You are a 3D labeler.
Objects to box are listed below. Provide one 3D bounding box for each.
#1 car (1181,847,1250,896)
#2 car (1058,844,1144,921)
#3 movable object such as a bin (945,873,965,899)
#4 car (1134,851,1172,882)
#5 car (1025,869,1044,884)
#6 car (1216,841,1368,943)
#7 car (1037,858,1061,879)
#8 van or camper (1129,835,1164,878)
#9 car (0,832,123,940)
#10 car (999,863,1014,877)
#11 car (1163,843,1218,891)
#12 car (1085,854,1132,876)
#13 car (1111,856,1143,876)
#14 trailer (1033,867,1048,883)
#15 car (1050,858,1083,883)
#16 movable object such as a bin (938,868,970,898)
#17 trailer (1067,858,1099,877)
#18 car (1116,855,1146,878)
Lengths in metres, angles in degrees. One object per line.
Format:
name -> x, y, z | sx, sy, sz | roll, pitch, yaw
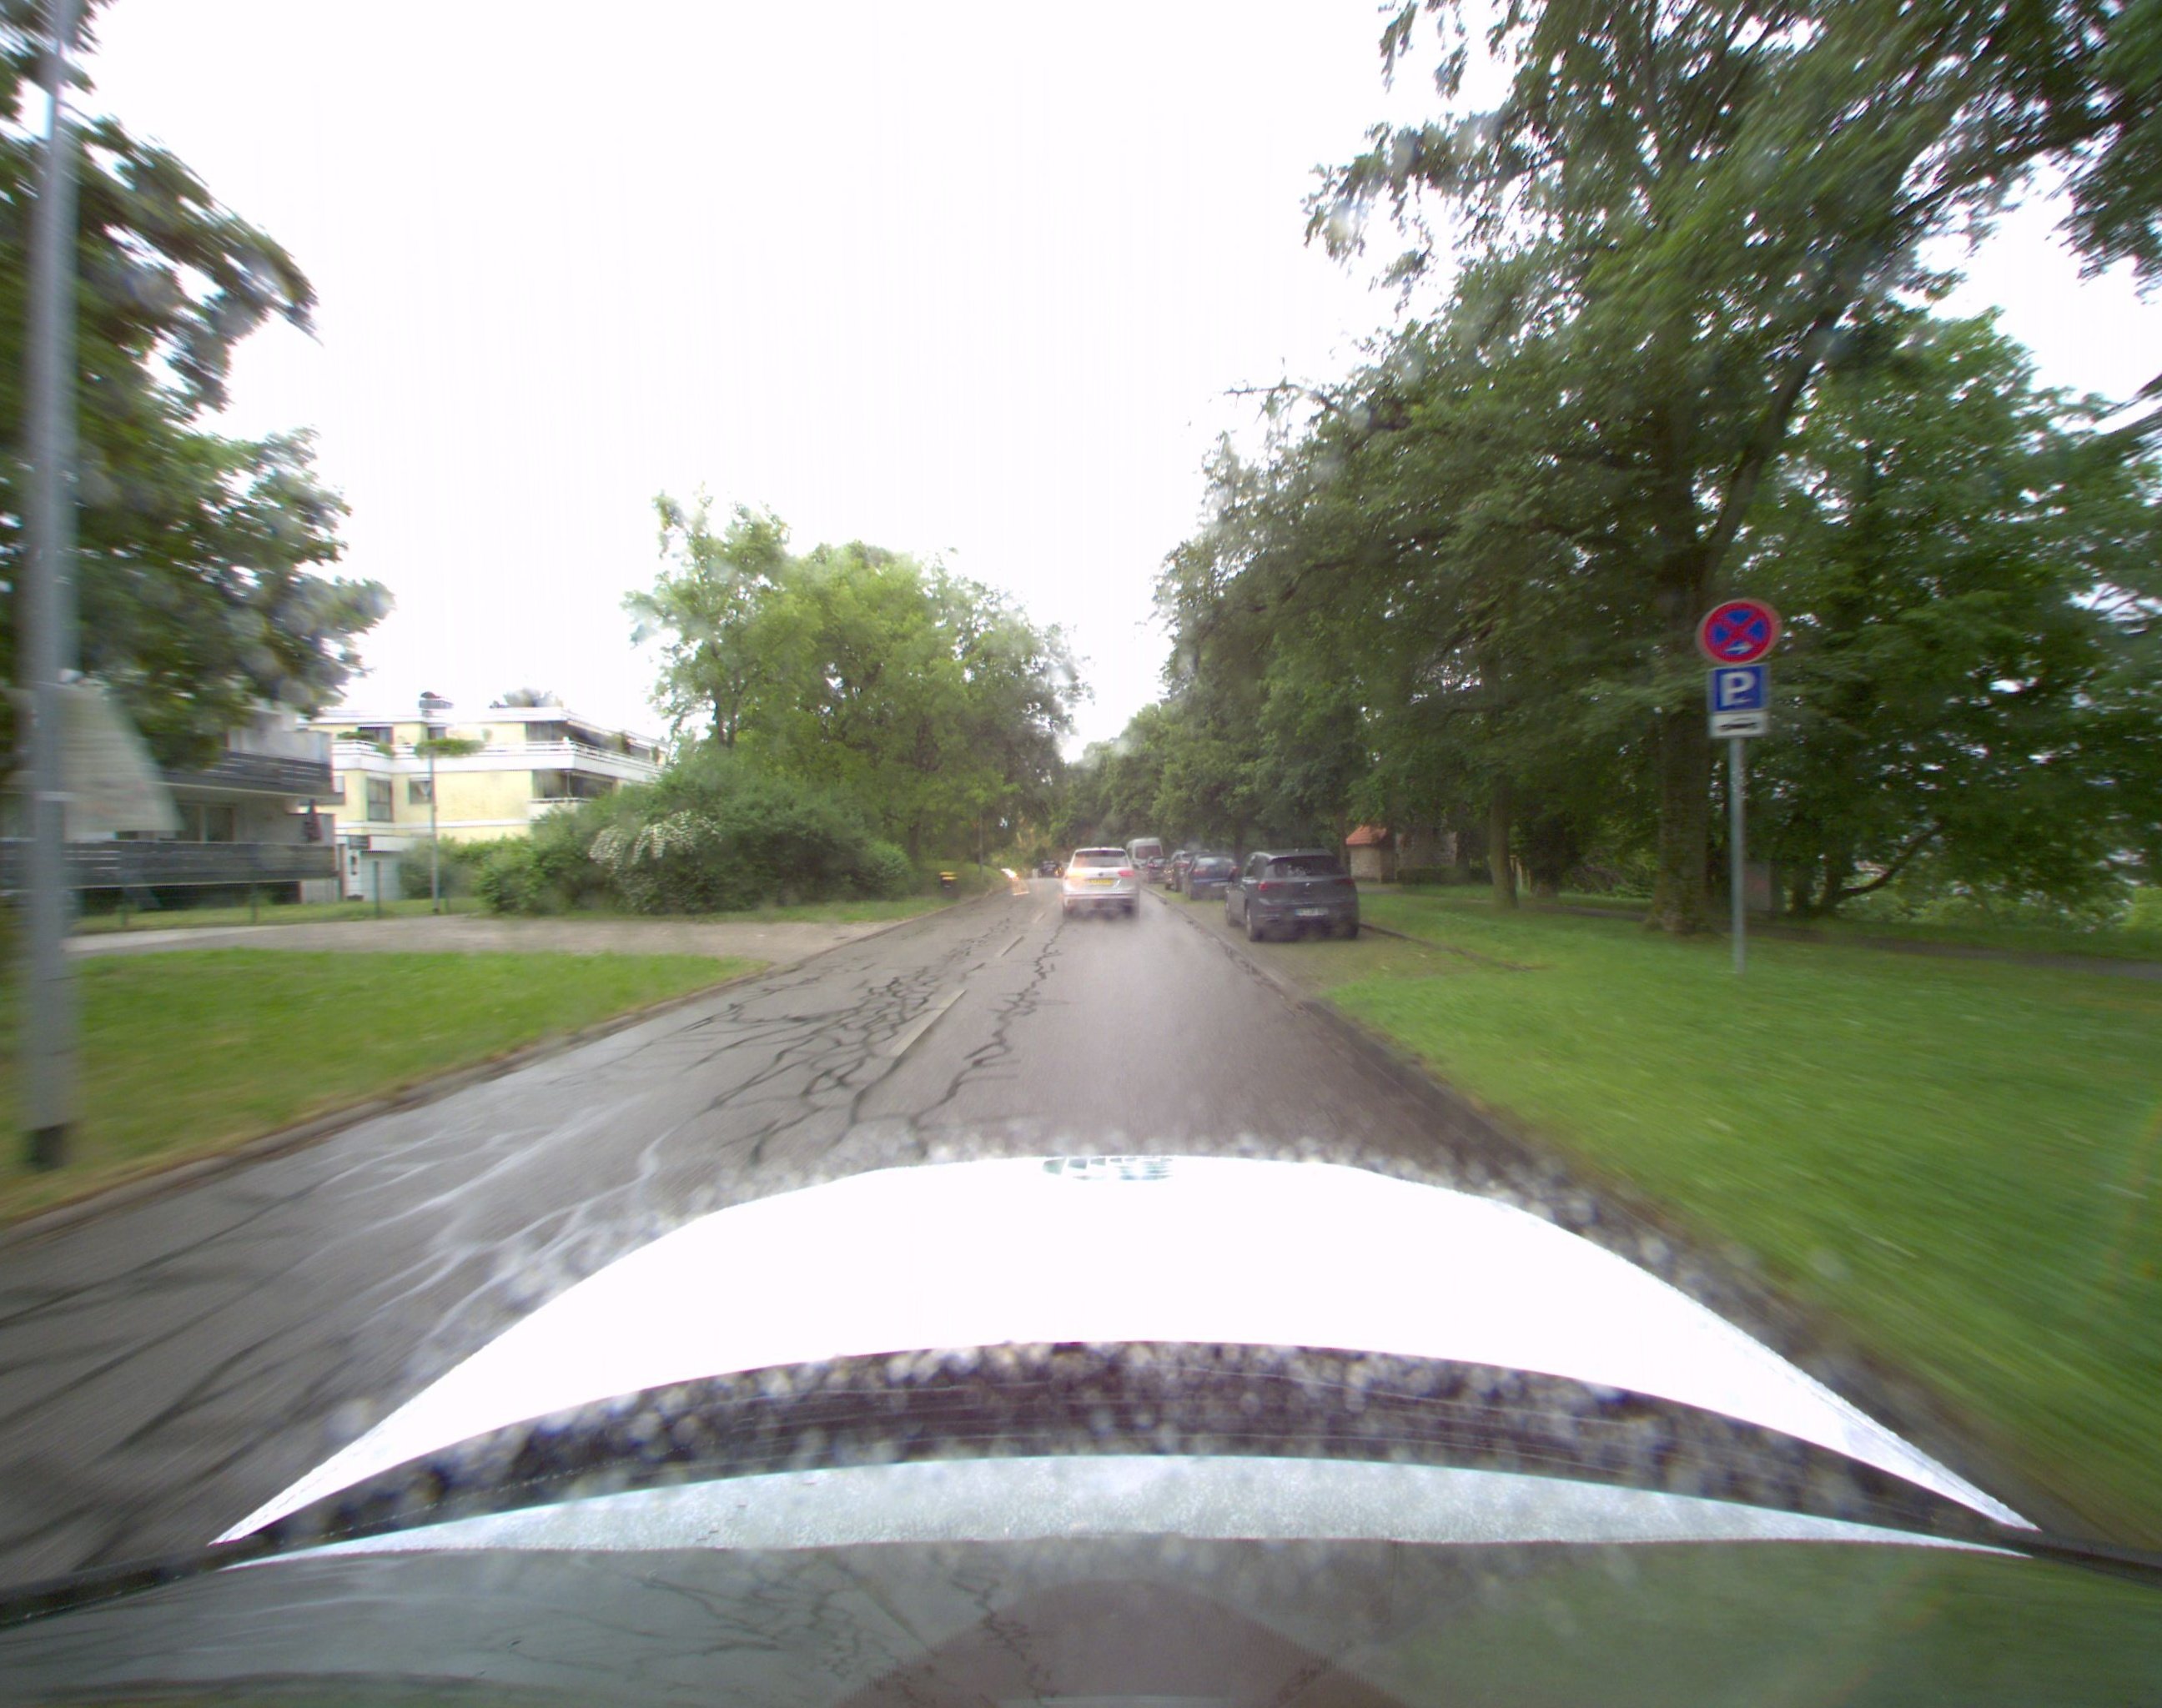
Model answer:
car -> 4.210, 0.509, 26.039 | 1.736, 1.452, 4.003 | 0, 0, 3
car -> 0.444, 0.633, 20.371 | 1.899, 1.685, 4.199 | -1, 0, -1
movable object such as a bin -> -4.703, 1.189, 30.457 | 0.645, 0.979, 0.578 | 0, 0, 3
car -> 3.896, 0.645, 44.519 | 1.857, 1.511, 3.727 | -2, 0, 3
car -> -7.124, 3.485, 124.638 | 1.995, 1.910, 5.484 | -2, -4, -12
car -> 3.554, 0.575, 14.477 | 1.694, 1.461, 4.219 | -3, 0, 2
car -> -3.419, 1.485, 86.205 | 1.994, 2.013, 3.986 | -2, 1, -11
van or camper -> 4.204, 0.125, 53.317 | 2.007, 2.583, 8.442 | 0, 0, 3
car -> -22.266, 0.694, 16.100 | 3.980, 2.013, 1.997 | -3, 0, -4
car -> -8.938, 1.903, 97.842 | 1.662, 1.477, 3.727 | -4, 0, -4
car -> 4.324, 0.463, 32.735 | 1.774, 1.719, 4.264 | -3, 0, 3
car -> 2.438, 0.991, 71.907 | 3.956, 1.681, 1.621 | -5, -2, 43
car -> 3.738, 0.944, 66.682 | 1.990, 1.497, 4.559 | -2, 0, -4
trailer -> -5.958, 3.157, 119.963 | 1.530, 2.076, 3.984 | -3, -3, -11
car -> -1.291, 1.380, 71.196 | 1.996, 2.013, 3.981 | -2, 1, -14
movable object such as a bin -> -4.857, 1.113, 31.116 | 1.033, 1.105, 0.967 | 0, 0, 3
trailer -> 0.185, 1.497, 88.718 | 2.450, 1.813, 5.870 | -2, -2, -10
car -> 3.643, 0.936, 59.918 | 1.800, 1.539, 4.264 | -3, 0, -2
